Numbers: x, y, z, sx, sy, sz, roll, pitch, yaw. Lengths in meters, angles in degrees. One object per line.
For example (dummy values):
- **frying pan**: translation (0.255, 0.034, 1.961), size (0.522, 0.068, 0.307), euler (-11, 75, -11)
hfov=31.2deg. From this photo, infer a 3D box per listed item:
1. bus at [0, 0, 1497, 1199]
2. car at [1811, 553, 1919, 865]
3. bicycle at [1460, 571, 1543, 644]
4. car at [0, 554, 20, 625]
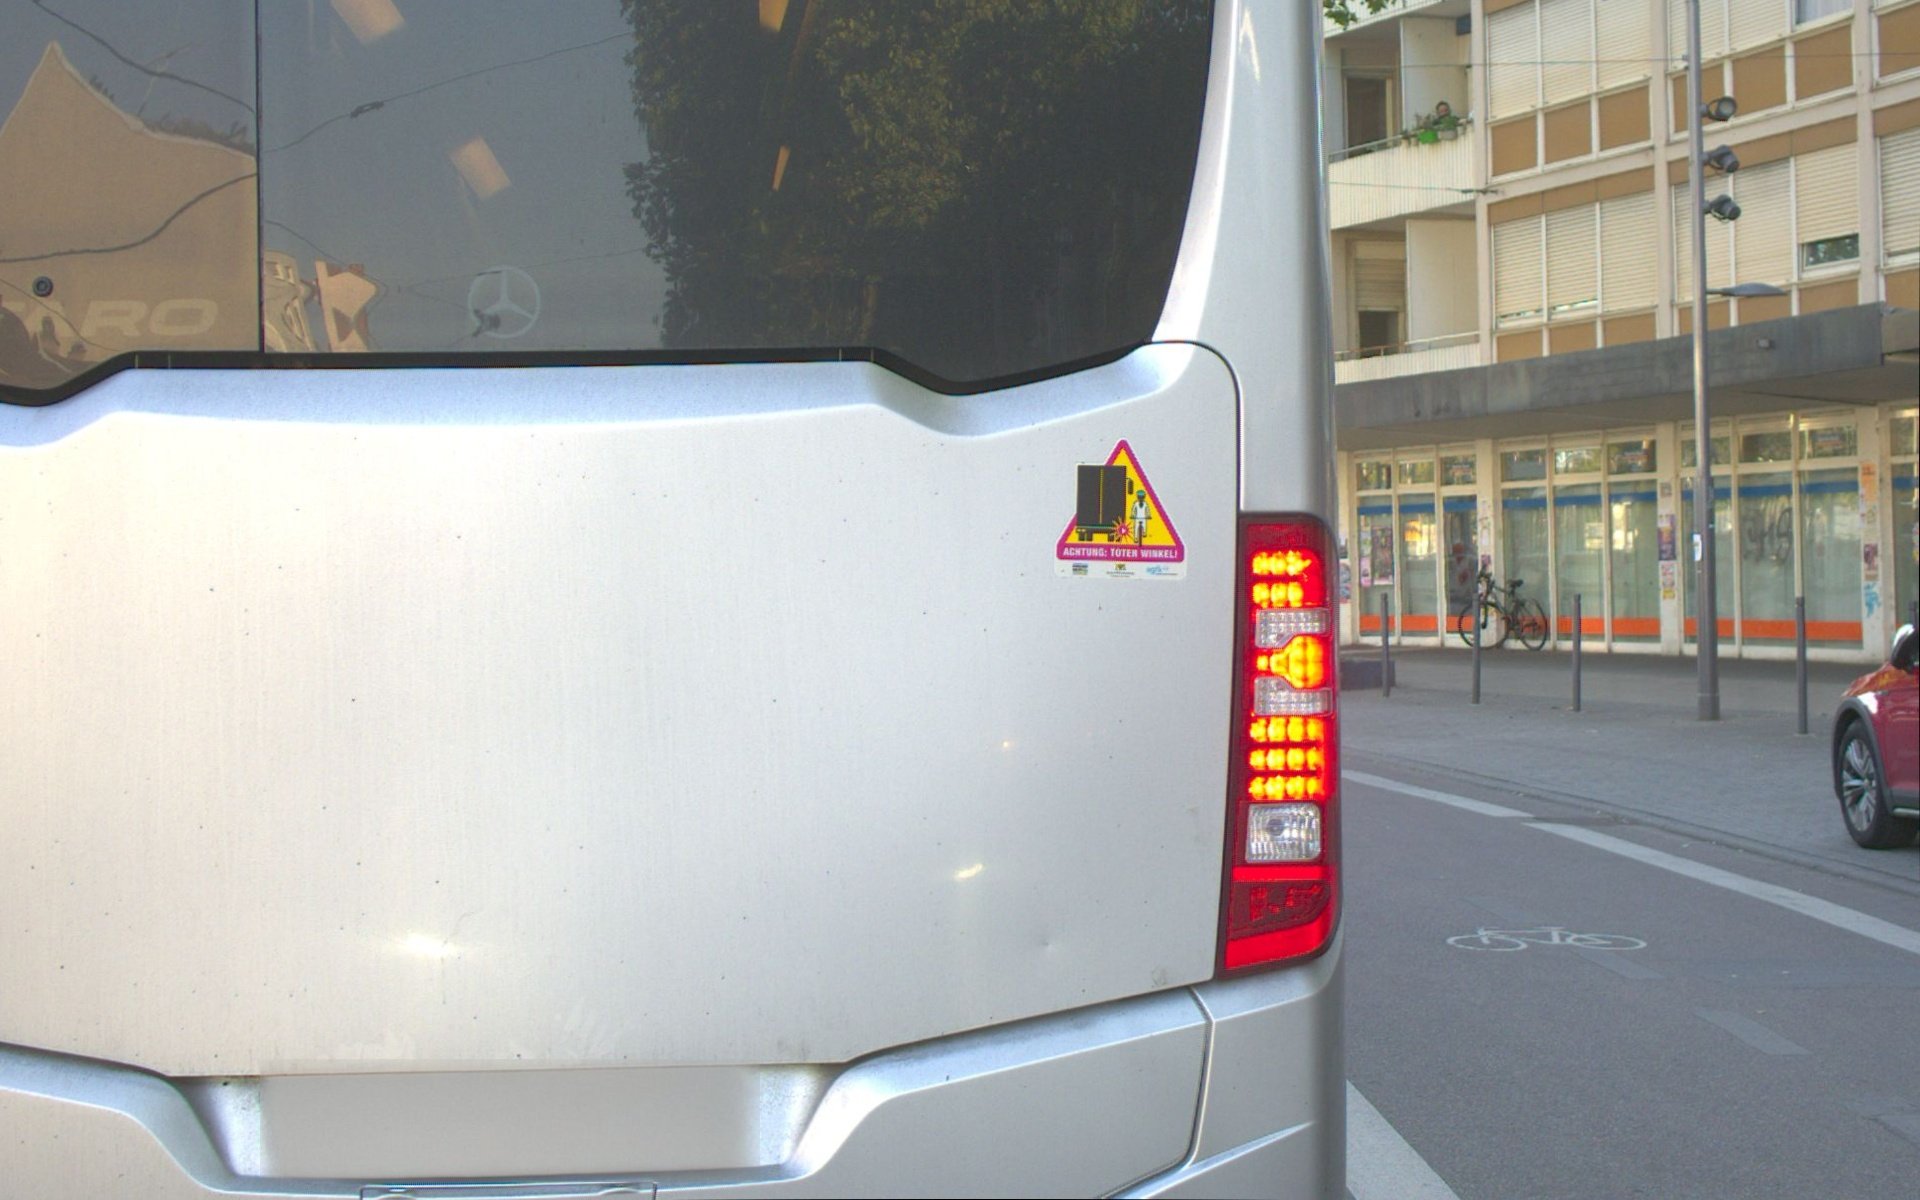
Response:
- **bus**: translation (-0.762, -0.142, 9.813), size (2.630, 3.017, 9.998), euler (0, 1, -2)
- **car**: translation (5.509, 0.505, 15.862), size (1.769, 1.477, 4.304), euler (-2, 1, -4)
- **bicycle**: translation (7.173, 0.090, 45.590), size (0.412, 0.941, 1.441), euler (-1, 1, -20)
- **car**: translation (-25.960, -0.285, 88.199), size (1.994, 1.785, 3.998), euler (1, 0, -41)
